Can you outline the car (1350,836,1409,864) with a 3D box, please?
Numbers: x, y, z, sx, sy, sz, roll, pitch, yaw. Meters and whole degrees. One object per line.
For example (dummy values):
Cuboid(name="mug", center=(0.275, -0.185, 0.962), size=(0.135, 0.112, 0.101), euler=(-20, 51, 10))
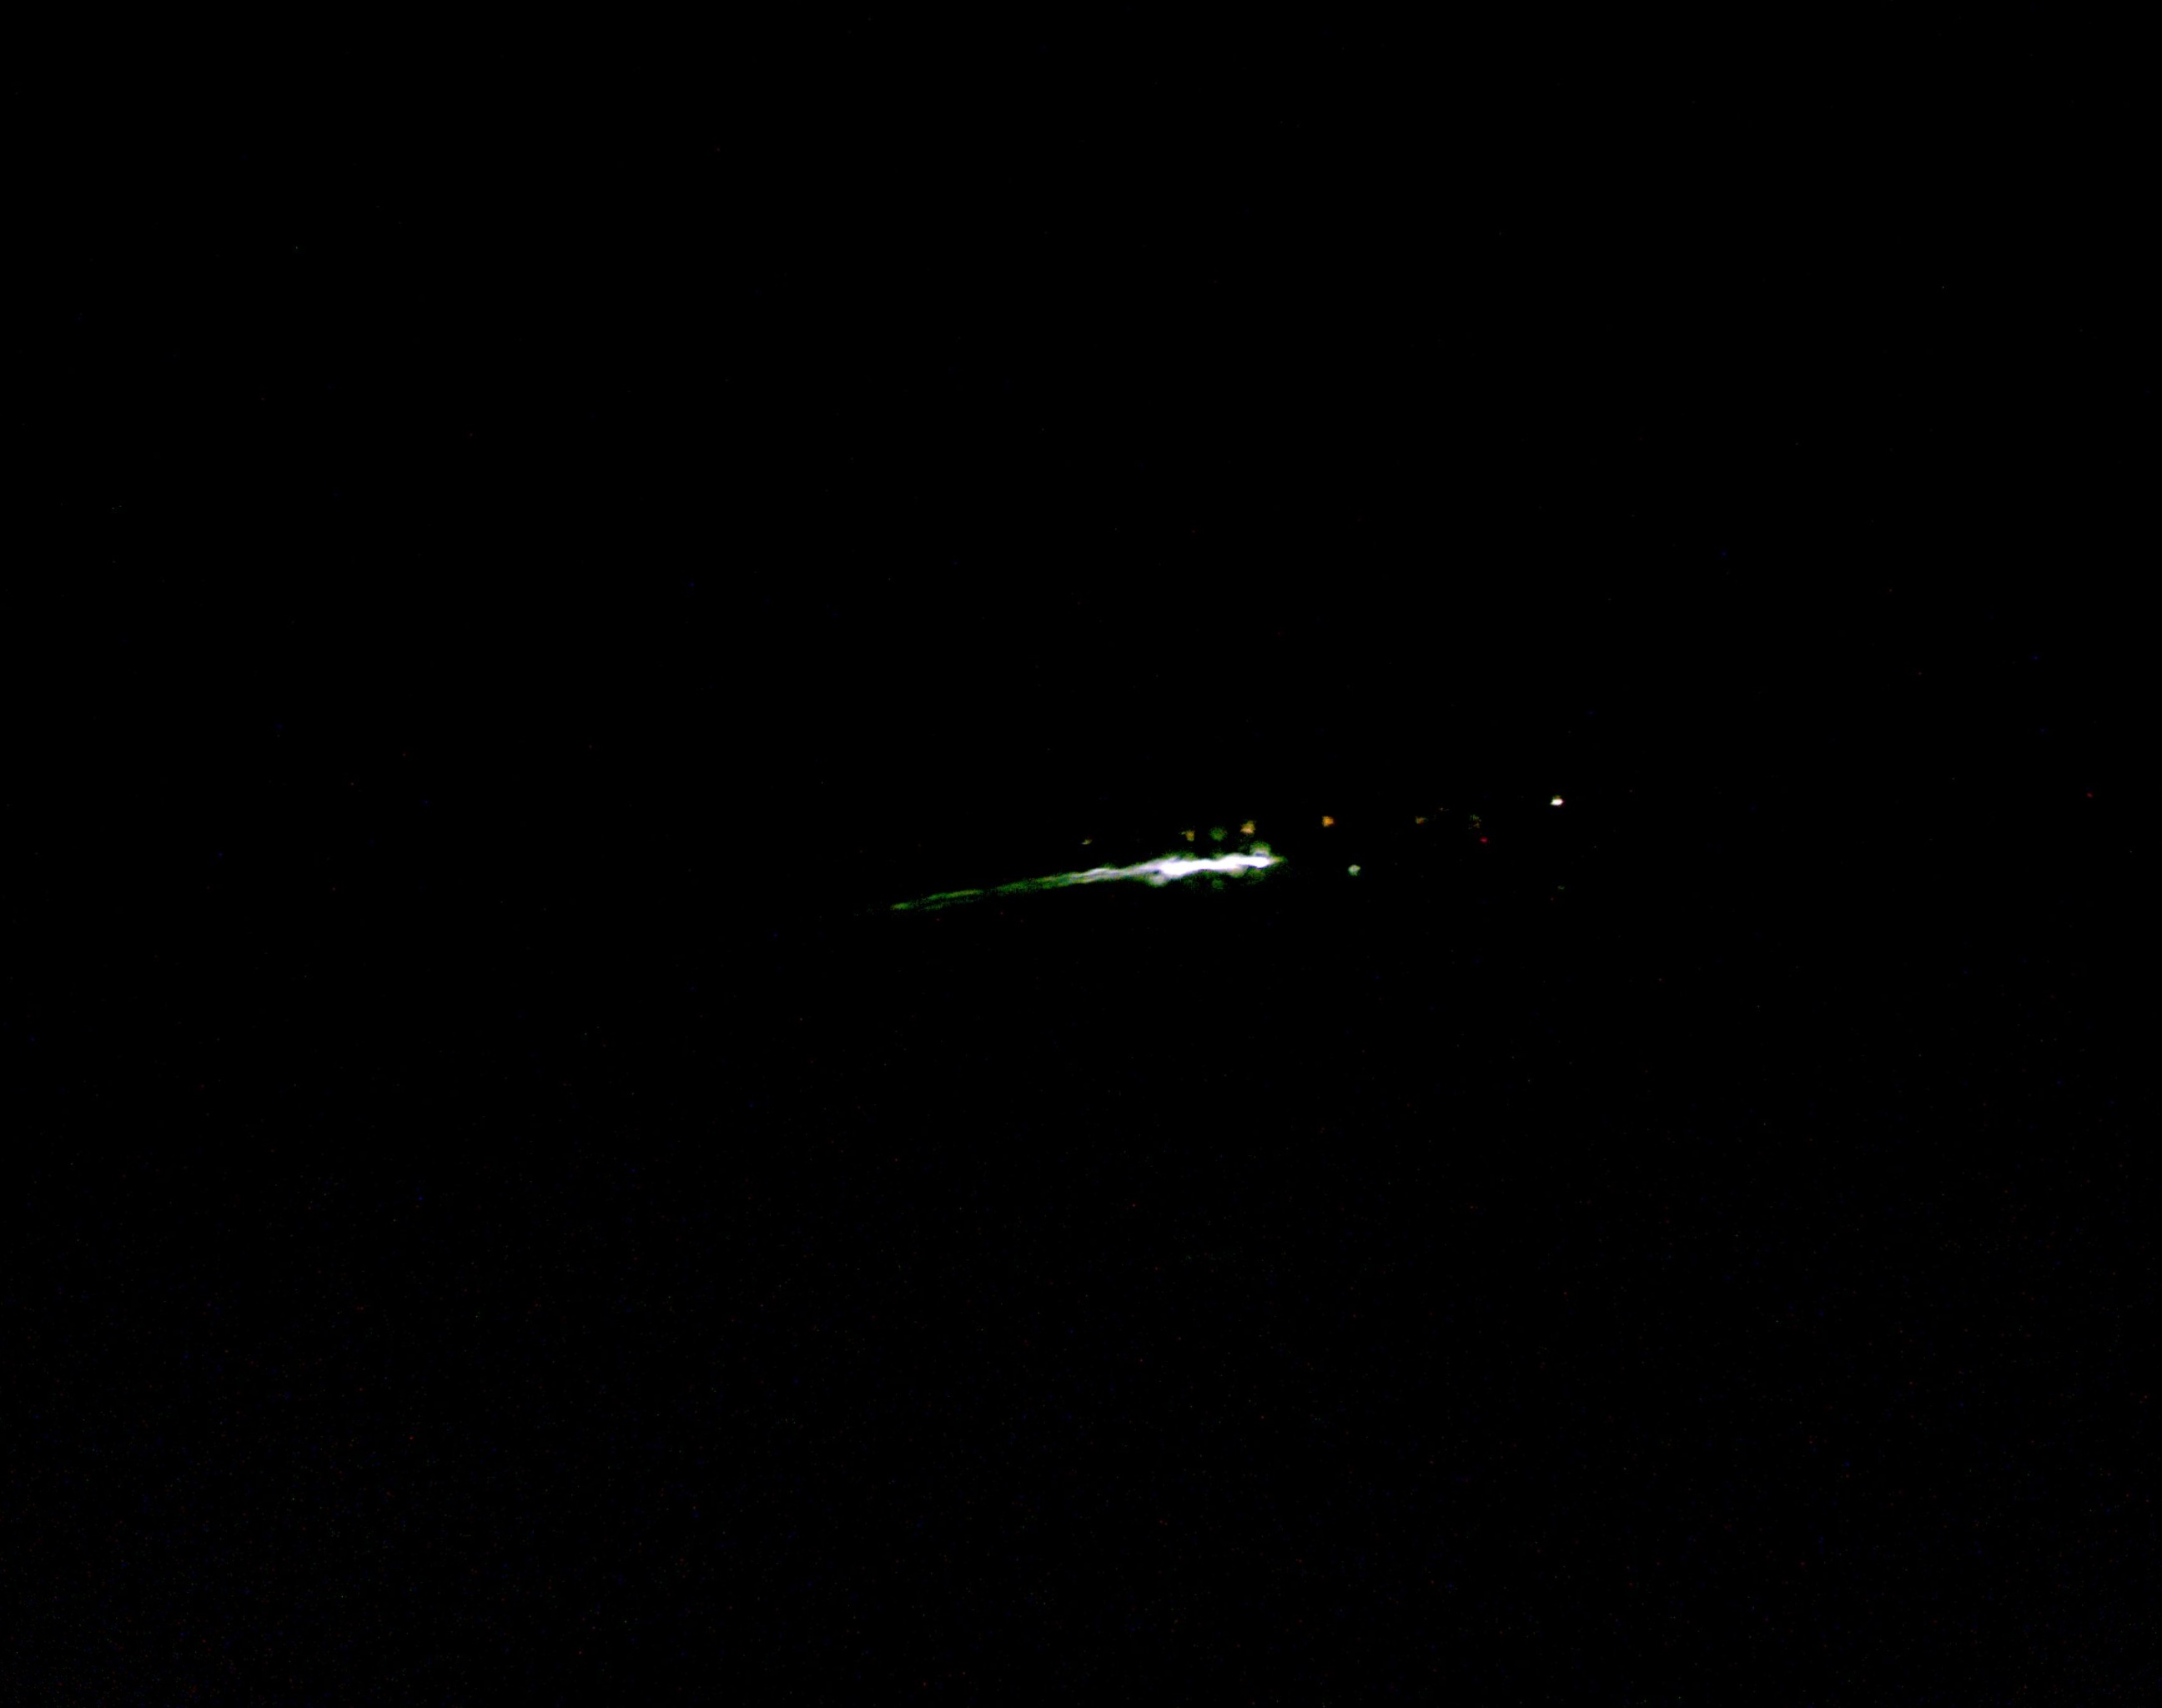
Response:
Cuboid(name="car", center=(20.263, -0.275, 51.562), size=(4.108, 1.737, 1.995), euler=(-3, 0, -41))
